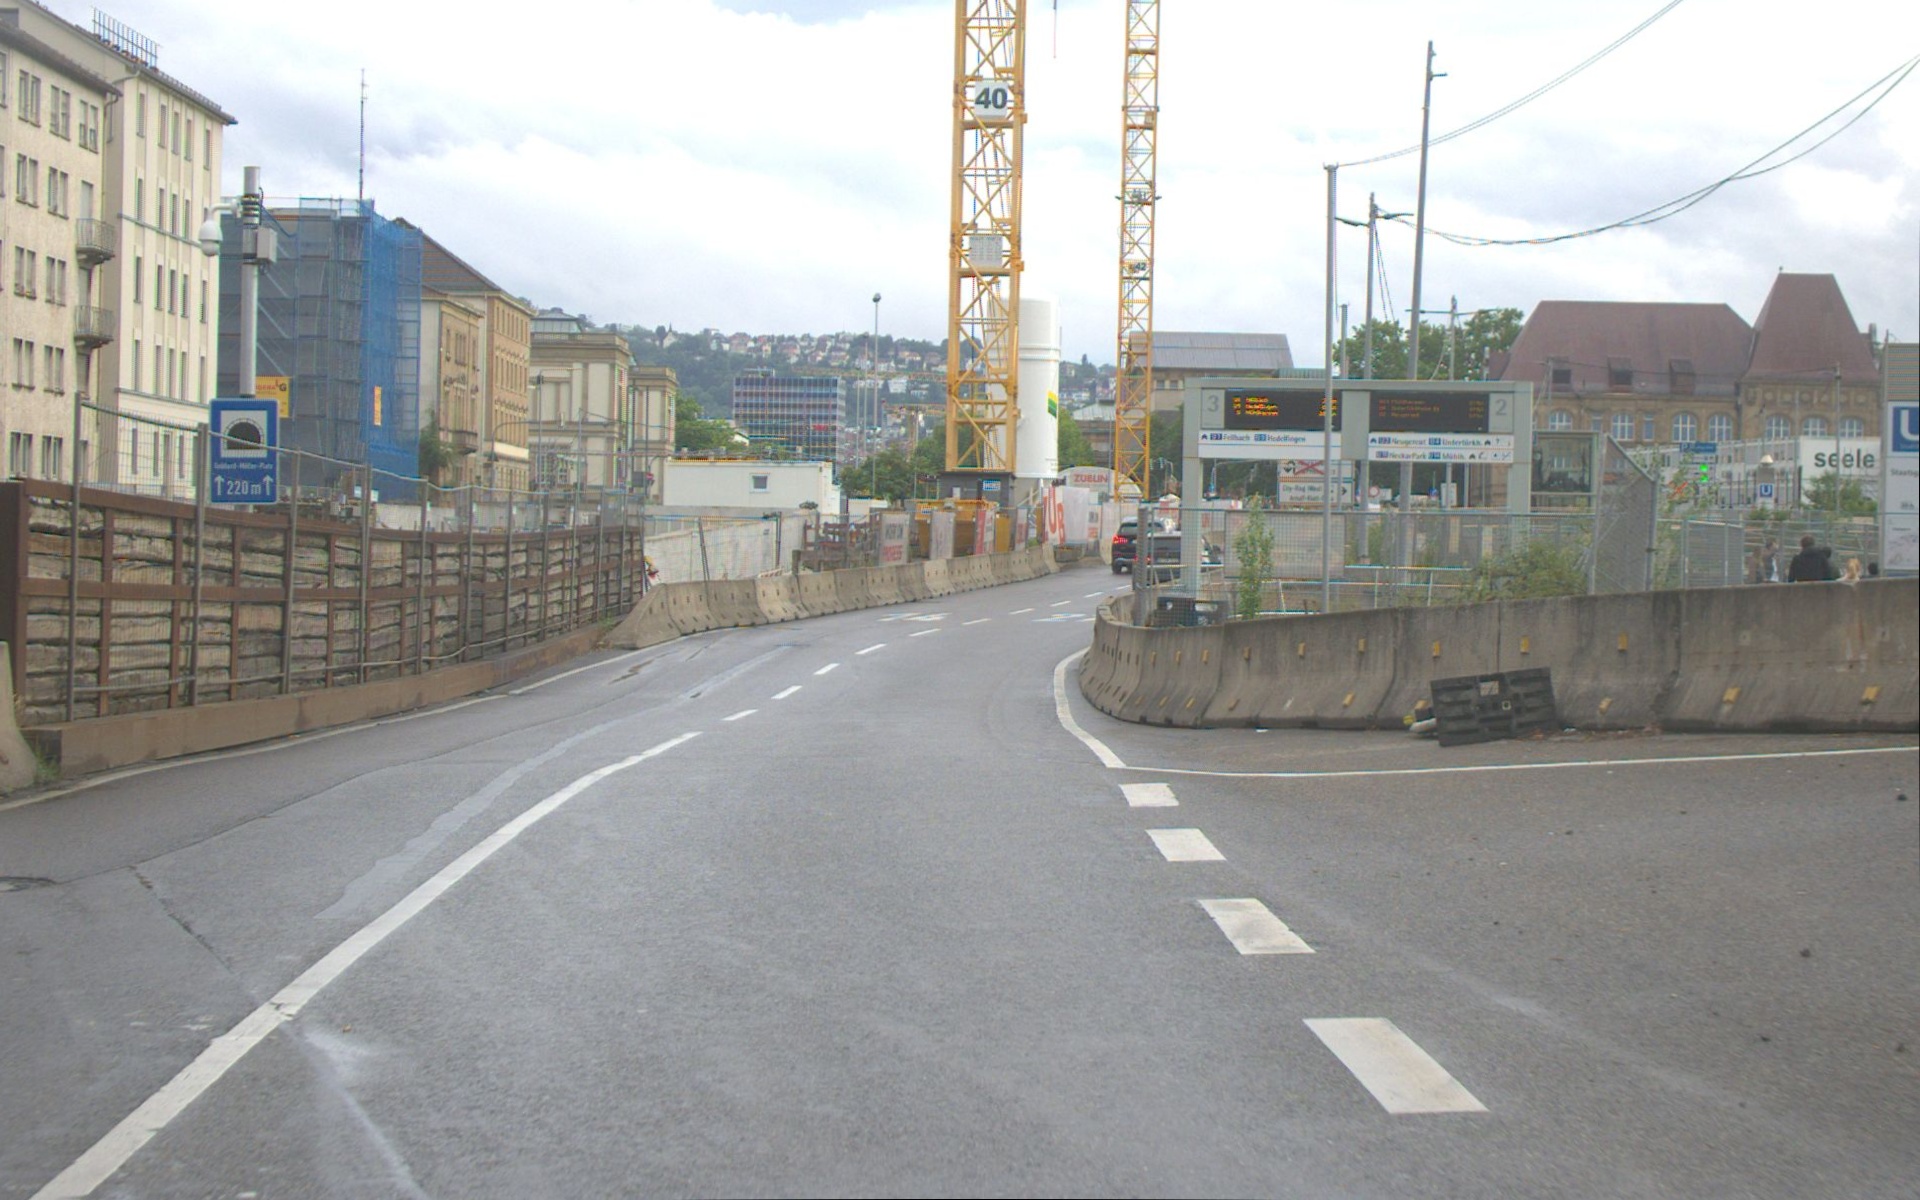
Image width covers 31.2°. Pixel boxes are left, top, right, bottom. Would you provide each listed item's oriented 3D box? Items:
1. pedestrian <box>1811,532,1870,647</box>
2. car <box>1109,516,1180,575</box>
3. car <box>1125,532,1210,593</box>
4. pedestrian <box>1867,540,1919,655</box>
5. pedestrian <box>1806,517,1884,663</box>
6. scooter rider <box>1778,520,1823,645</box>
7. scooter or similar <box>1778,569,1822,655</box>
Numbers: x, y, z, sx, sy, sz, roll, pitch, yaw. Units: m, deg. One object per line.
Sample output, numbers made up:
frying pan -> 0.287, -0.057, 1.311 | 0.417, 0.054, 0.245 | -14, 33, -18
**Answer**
pedestrian -> 13.704, -0.172, 53.533 | 0.689, 1.772, 1.023 | 0, 1, 2
car -> 5.487, -1.633, 101.724 | 1.863, 1.655, 4.656 | 2, 2, 6
car -> 4.961, -0.908, 81.620 | 1.863, 1.428, 4.655 | 0, 1, 5
pedestrian -> 14.585, -0.038, 53.472 | 0.726, 1.772, 1.023 | 0, 1, 3
pedestrian -> 10.859, -0.125, 42.197 | 0.689, 1.772, 0.815 | 0, 0, -4
scooter rider -> 11.887, -0.256, 48.616 | 0.521, 1.749, 0.699 | 1, 2, 20
scooter or similar -> 11.884, 0.167, 48.631 | 0.491, 1.175, 1.095 | 1, 2, 20
